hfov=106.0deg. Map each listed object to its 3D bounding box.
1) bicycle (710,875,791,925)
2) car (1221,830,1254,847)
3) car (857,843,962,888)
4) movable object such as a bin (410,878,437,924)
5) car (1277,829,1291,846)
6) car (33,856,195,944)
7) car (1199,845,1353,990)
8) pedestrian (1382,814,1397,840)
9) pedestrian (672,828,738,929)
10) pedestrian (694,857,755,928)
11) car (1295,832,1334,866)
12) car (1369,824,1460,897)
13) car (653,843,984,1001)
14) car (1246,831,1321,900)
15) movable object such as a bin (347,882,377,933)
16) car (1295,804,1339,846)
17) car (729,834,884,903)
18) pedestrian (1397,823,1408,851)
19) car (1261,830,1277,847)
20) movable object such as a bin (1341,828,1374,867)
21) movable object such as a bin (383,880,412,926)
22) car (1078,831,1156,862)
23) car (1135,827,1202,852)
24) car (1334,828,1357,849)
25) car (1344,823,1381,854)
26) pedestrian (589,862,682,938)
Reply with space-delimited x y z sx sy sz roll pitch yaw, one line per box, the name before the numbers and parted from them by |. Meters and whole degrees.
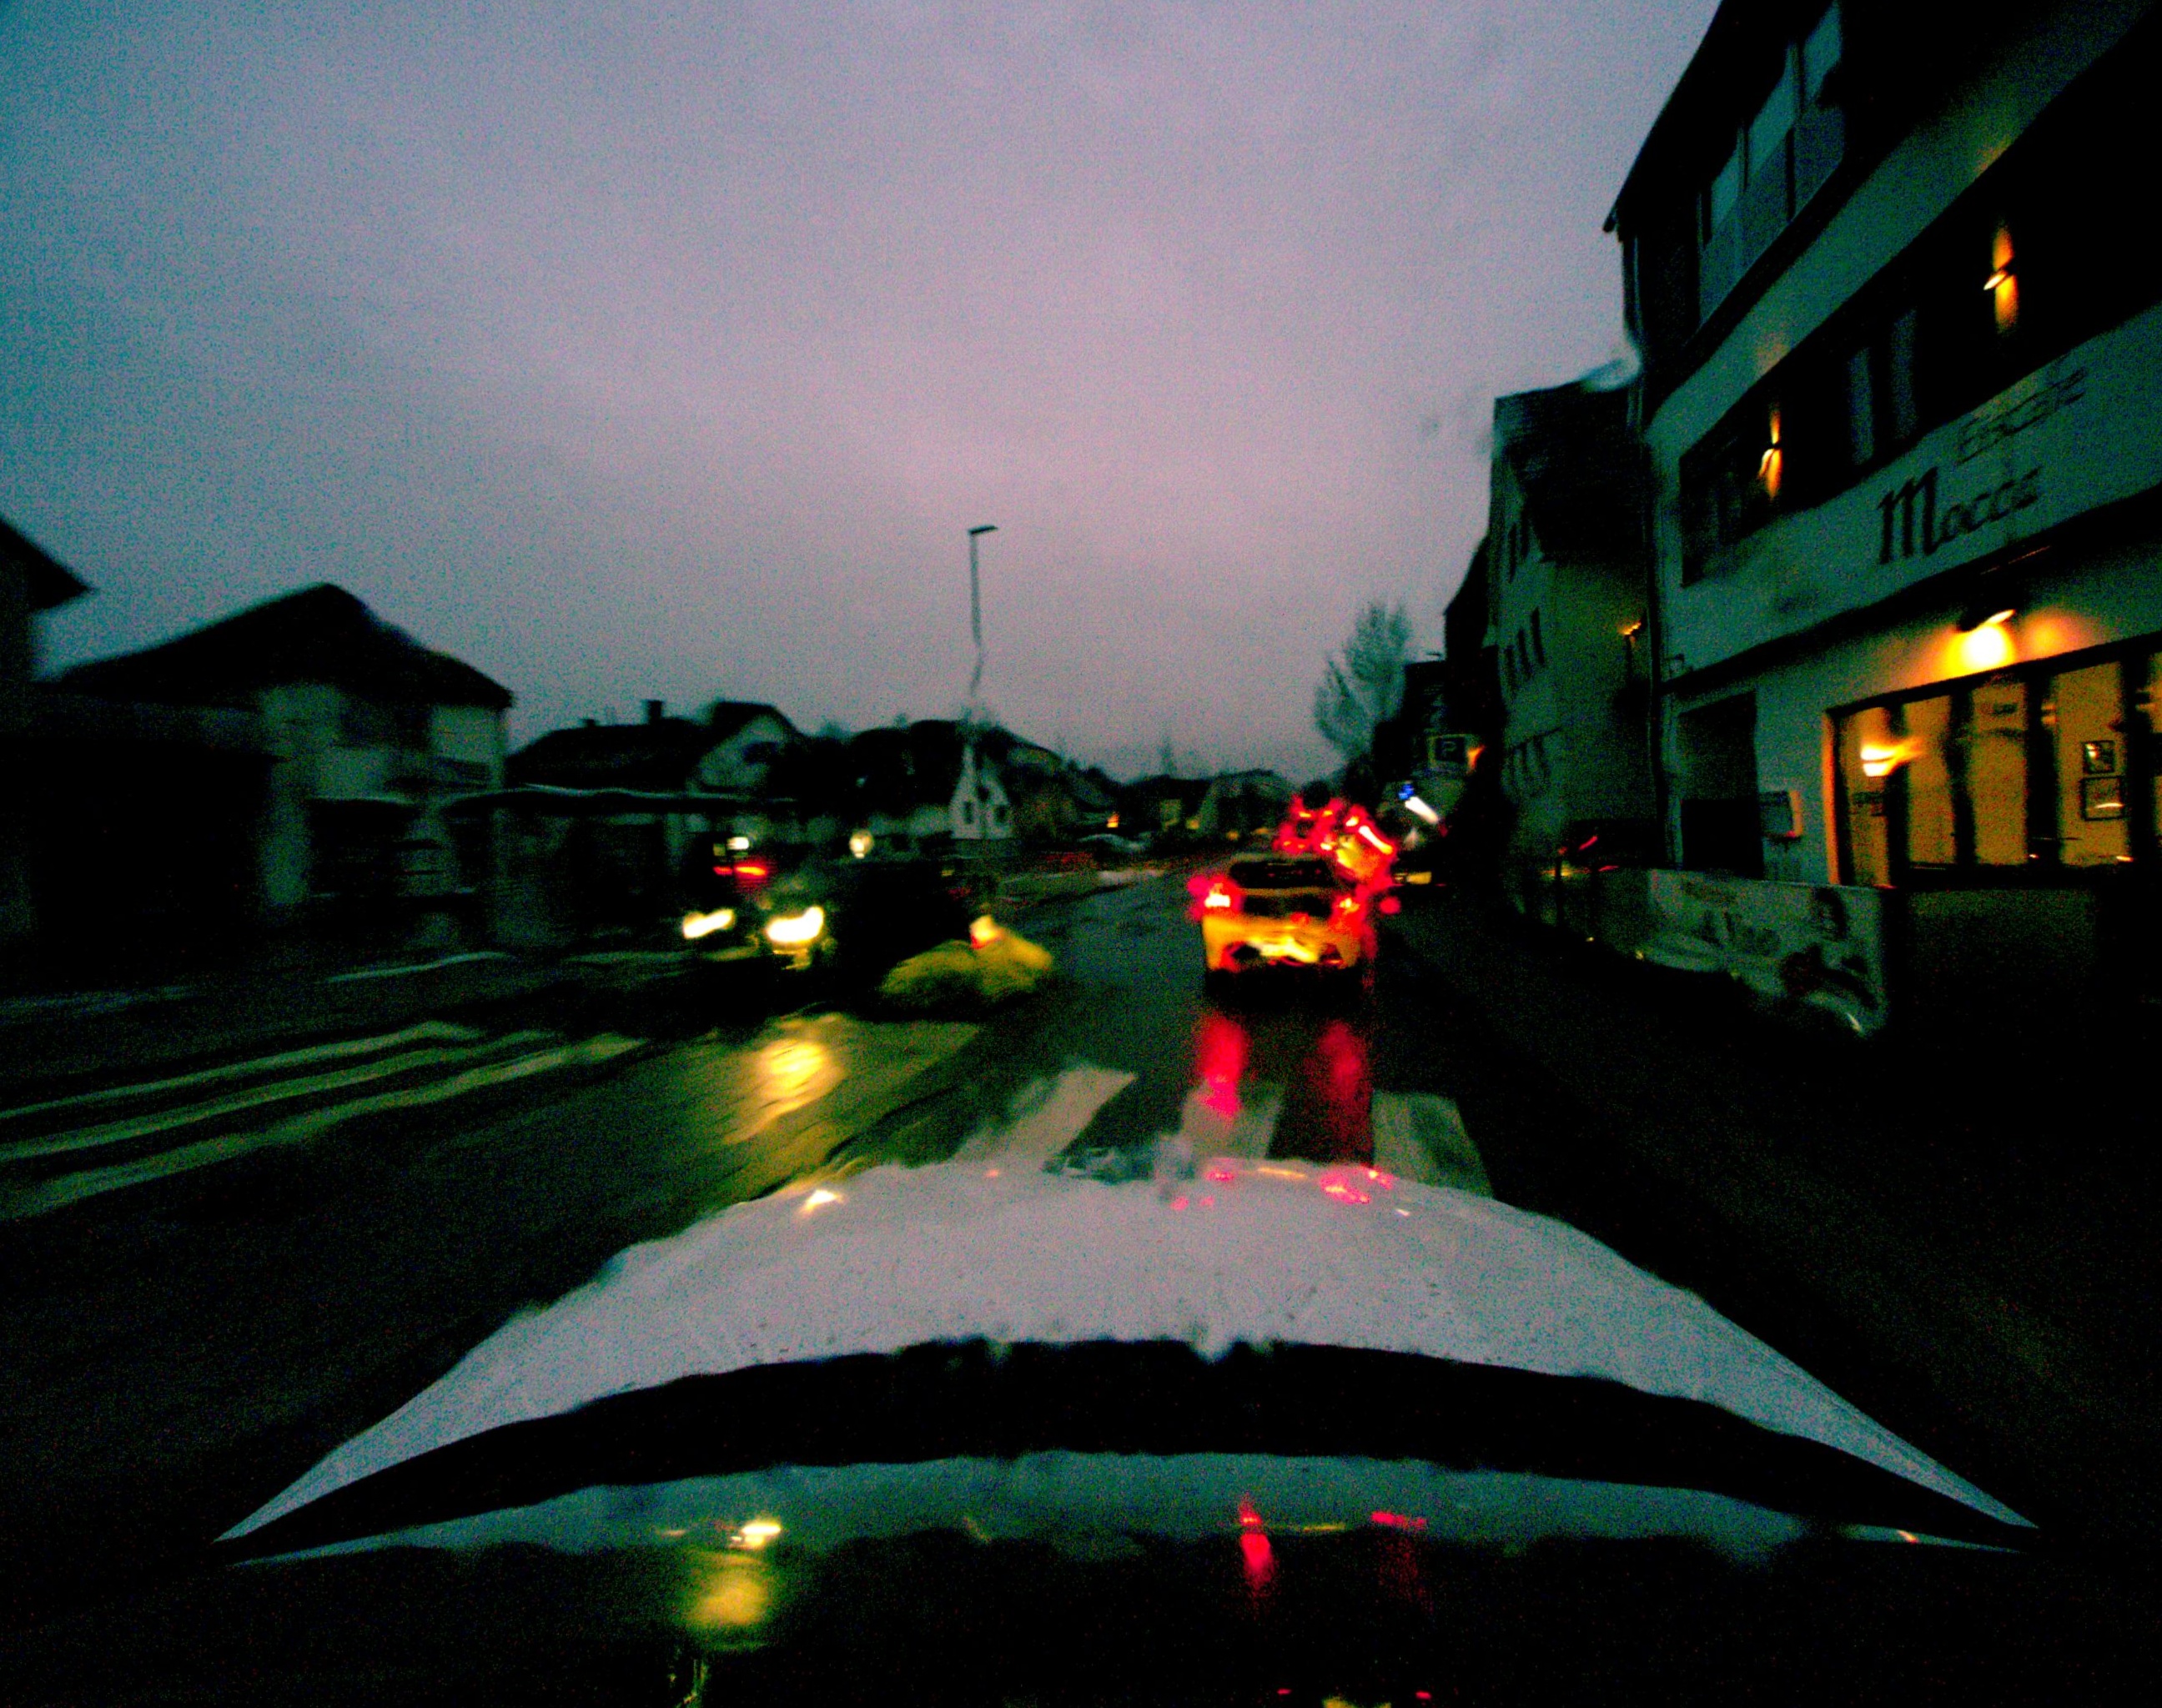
bicycle | -7.669 1.054 18.971 0.465 1.010 1.750 -2 1 33
car | 21.357 -2.112 111.252 2.006 2.166 4.344 0 -1 -30
car | -6.547 0.395 31.609 1.787 1.482 4.594 -4 0 19
movable object such as a bin | -16.897 1.196 20.938 0.284 1.142 0.456 -1 -1 21
car | 27.608 -2.234 110.703 1.906 2.215 3.991 -1 -1 14
car | -22.334 1.032 18.808 3.385 1.853 1.522 -2 0 25
car | 2.445 0.643 9.972 1.551 1.412 3.031 -1 2 16
pedestrian | 20.881 -1.851 55.039 0.705 1.715 1.041 -3 1 30
pedestrian | -6.671 0.414 14.472 0.742 1.742 0.691 -1 2 16
pedestrian | -6.709 0.713 15.338 0.679 1.271 0.754 0 2 21
car | 10.123 -0.243 35.327 1.529 1.331 3.326 -1 2 16
car | 8.172 0.087 20.267 1.714 1.464 4.219 -5 1 18
car | -2.972 0.665 10.143 1.686 1.503 3.921 -1 1 24
car | 5.391 0.230 21.452 1.753 1.628 3.602 -1 2 16
movable object such as a bin | -17.407 1.283 19.714 0.284 1.210 0.456 -1 -1 21
car | 18.649 -2.250 64.685 3.167 3.031 6.330 -1 -1 15
car | -8.148 0.361 24.690 1.739 1.700 4.590 -5 1 22
pedestrian | 19.415 -1.027 49.124 0.524 1.653 0.959 -1 -1 26
car | 23.889 -2.003 103.520 1.906 2.027 3.991 -1 -1 14
movable object such as a bin | 11.157 -0.274 32.899 1.120 1.420 1.424 -5 1 18
movable object such as a bin | -17.094 1.210 20.371 0.284 1.120 0.456 -1 -1 21
car | 1.914 -0.407 43.493 3.760 1.523 1.724 -1 1 23
car | 6.395 -1.059 59.198 4.592 1.667 2.008 -1 1 14
car | 25.634 -1.519 79.038 1.982 1.864 4.101 -1 1 17
car | 16.652 -0.916 48.315 1.722 1.692 4.405 -2 1 16
pedestrian | -7.438 0.742 13.626 0.979 1.158 0.907 -1 3 26
